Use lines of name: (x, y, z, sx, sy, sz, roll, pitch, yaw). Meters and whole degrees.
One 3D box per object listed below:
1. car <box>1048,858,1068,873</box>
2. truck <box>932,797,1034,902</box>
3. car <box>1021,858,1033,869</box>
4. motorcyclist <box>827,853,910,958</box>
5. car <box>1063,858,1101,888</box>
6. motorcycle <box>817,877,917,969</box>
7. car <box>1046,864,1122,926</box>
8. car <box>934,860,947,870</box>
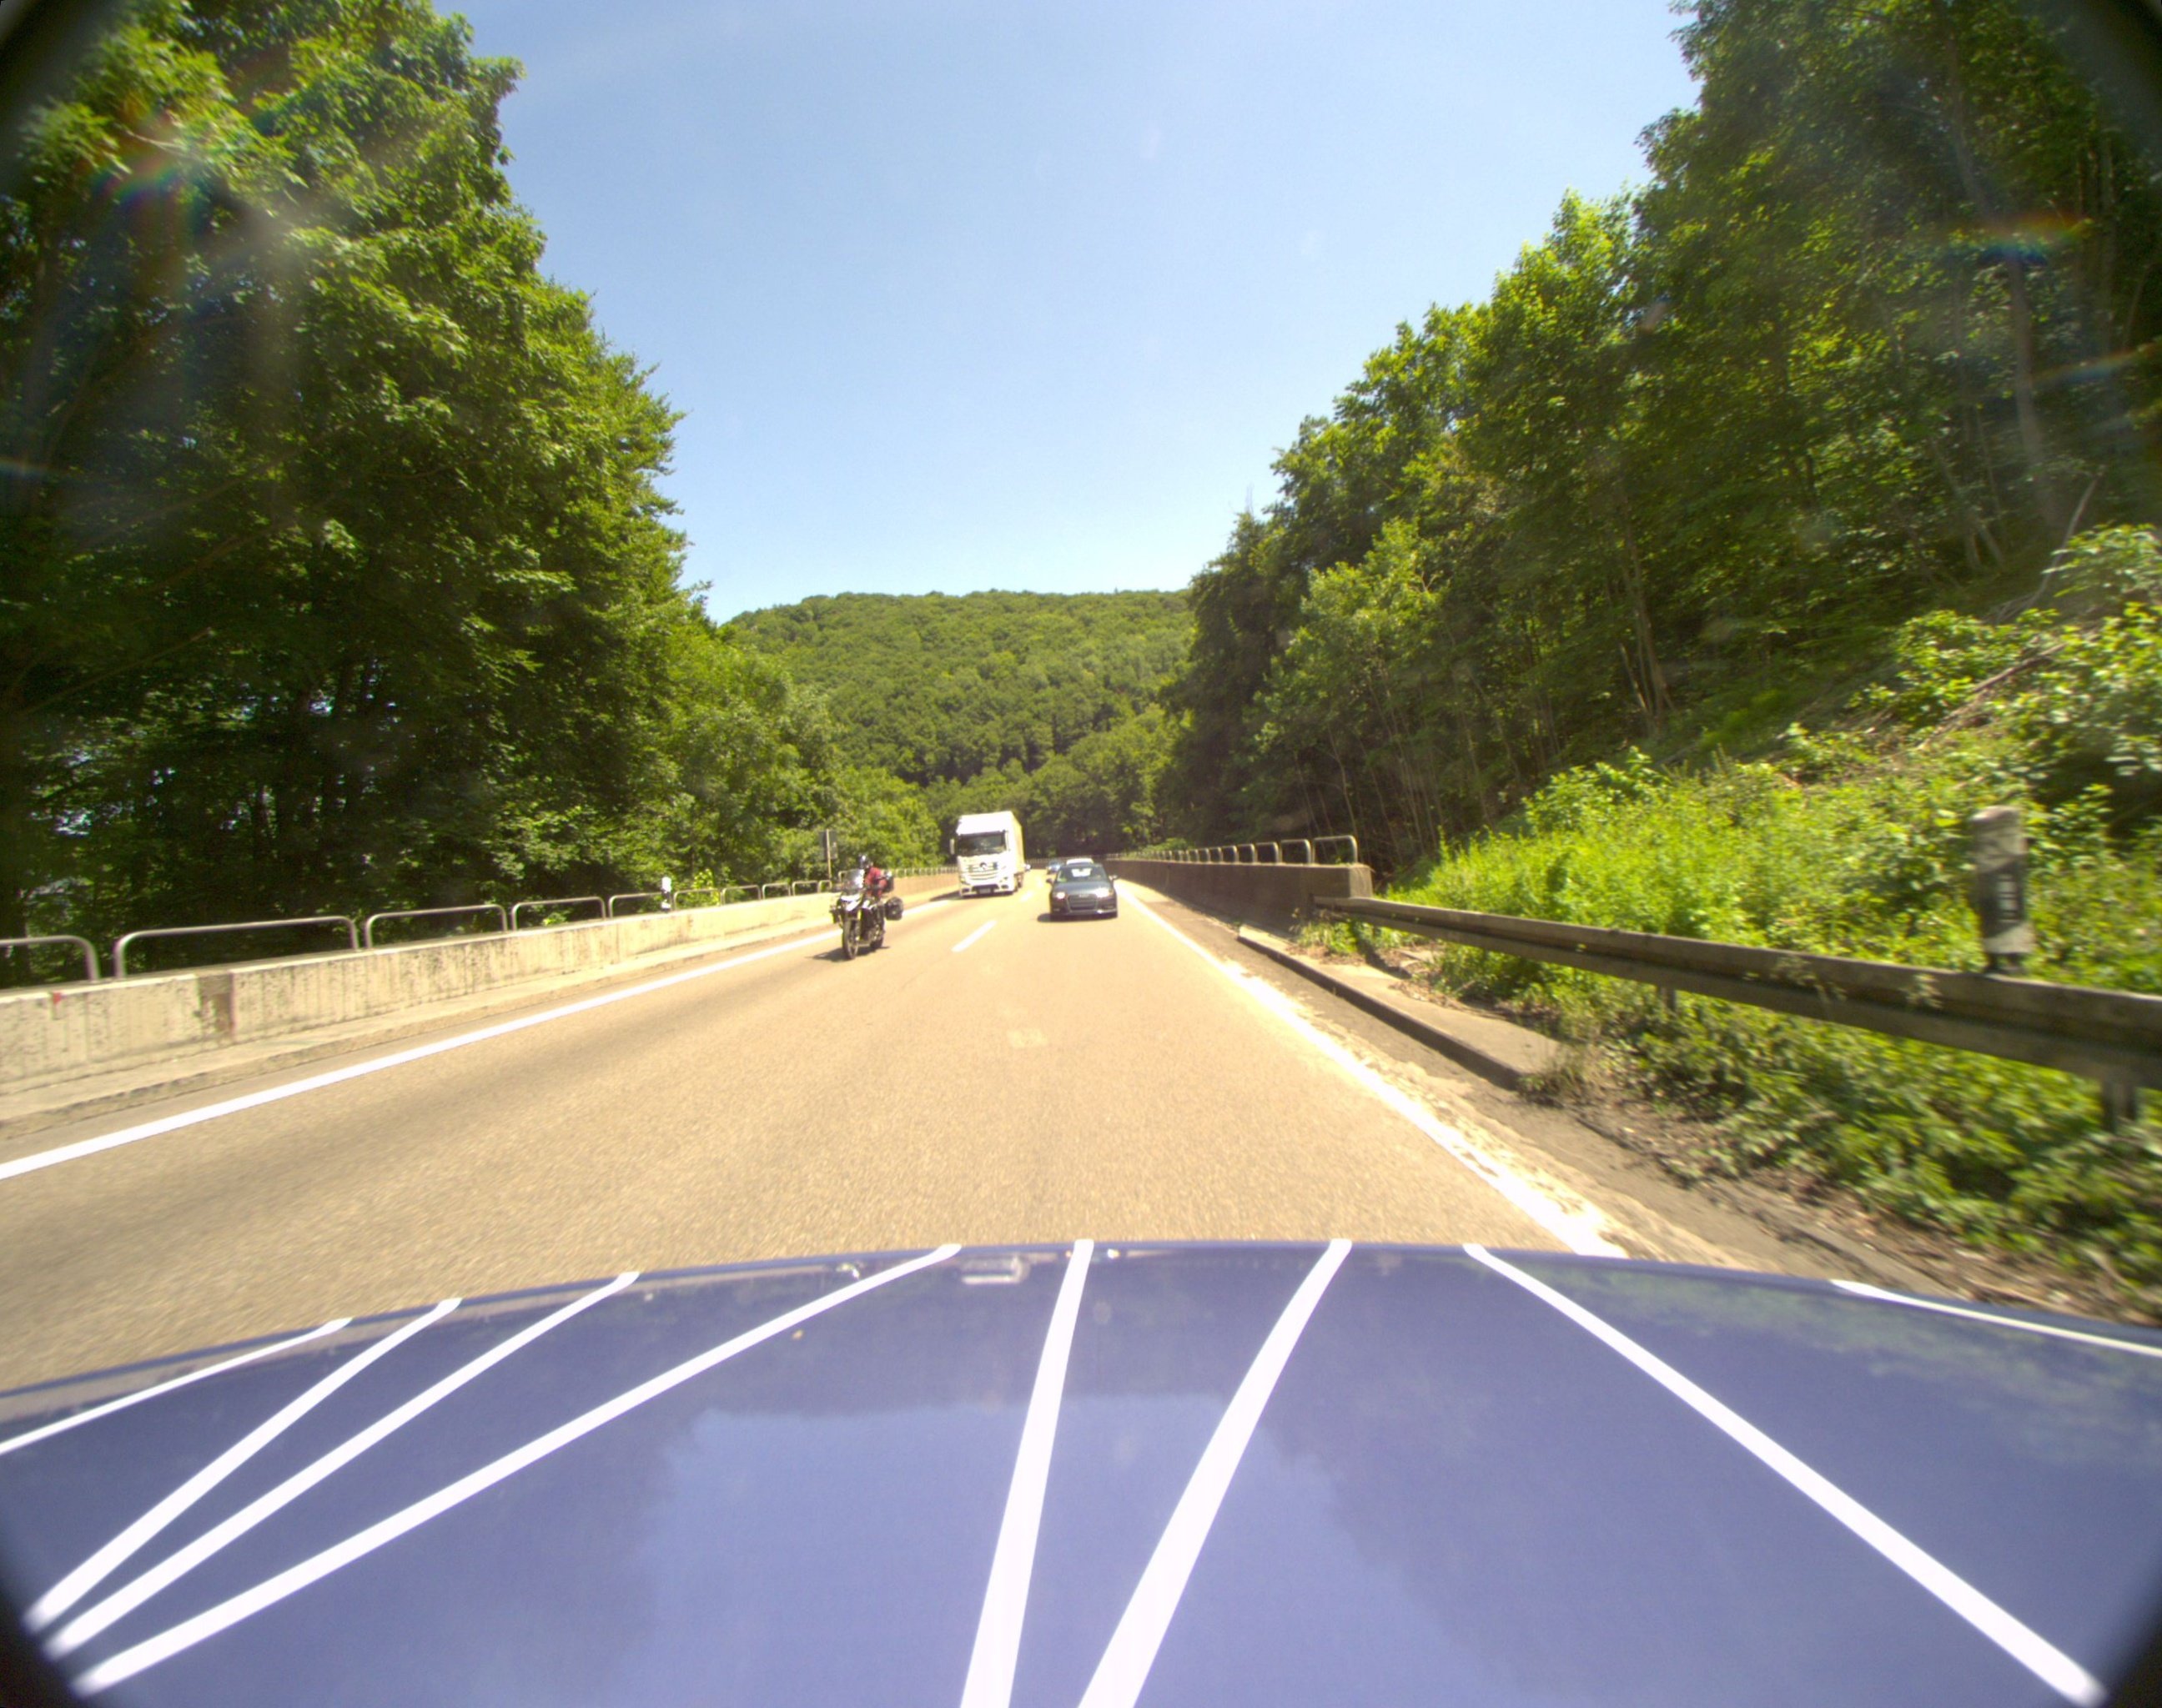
car: (-2.459, 1.173, 80.527, 1.756, 1.480, 3.980, -2, 0, -5)
truck: (-4.595, -0.196, 39.992, 2.969, 4.108, 16.705, -6, 0, -1)
car: (-7.691, 1.306, 108.653, 1.619, 1.487, 3.654, -3, 0, -5)
motorcyclist: (-3.835, 0.893, 13.857, 1.063, 1.790, 1.338, -2, 0, 0)
car: (-0.013, 0.952, 39.977, 1.756, 1.460, 3.981, -2, 0, -3)
motorcycle: (-3.833, 1.178, 13.924, 0.975, 1.411, 2.681, -2, 0, 1)
car: (0.051, 1.014, 20.229, 1.755, 1.350, 4.121, -3, 0, -1)
car: (-30.734, 2.394, 165.943, 2.001, 2.002, 3.994, -3, 0, -19)
